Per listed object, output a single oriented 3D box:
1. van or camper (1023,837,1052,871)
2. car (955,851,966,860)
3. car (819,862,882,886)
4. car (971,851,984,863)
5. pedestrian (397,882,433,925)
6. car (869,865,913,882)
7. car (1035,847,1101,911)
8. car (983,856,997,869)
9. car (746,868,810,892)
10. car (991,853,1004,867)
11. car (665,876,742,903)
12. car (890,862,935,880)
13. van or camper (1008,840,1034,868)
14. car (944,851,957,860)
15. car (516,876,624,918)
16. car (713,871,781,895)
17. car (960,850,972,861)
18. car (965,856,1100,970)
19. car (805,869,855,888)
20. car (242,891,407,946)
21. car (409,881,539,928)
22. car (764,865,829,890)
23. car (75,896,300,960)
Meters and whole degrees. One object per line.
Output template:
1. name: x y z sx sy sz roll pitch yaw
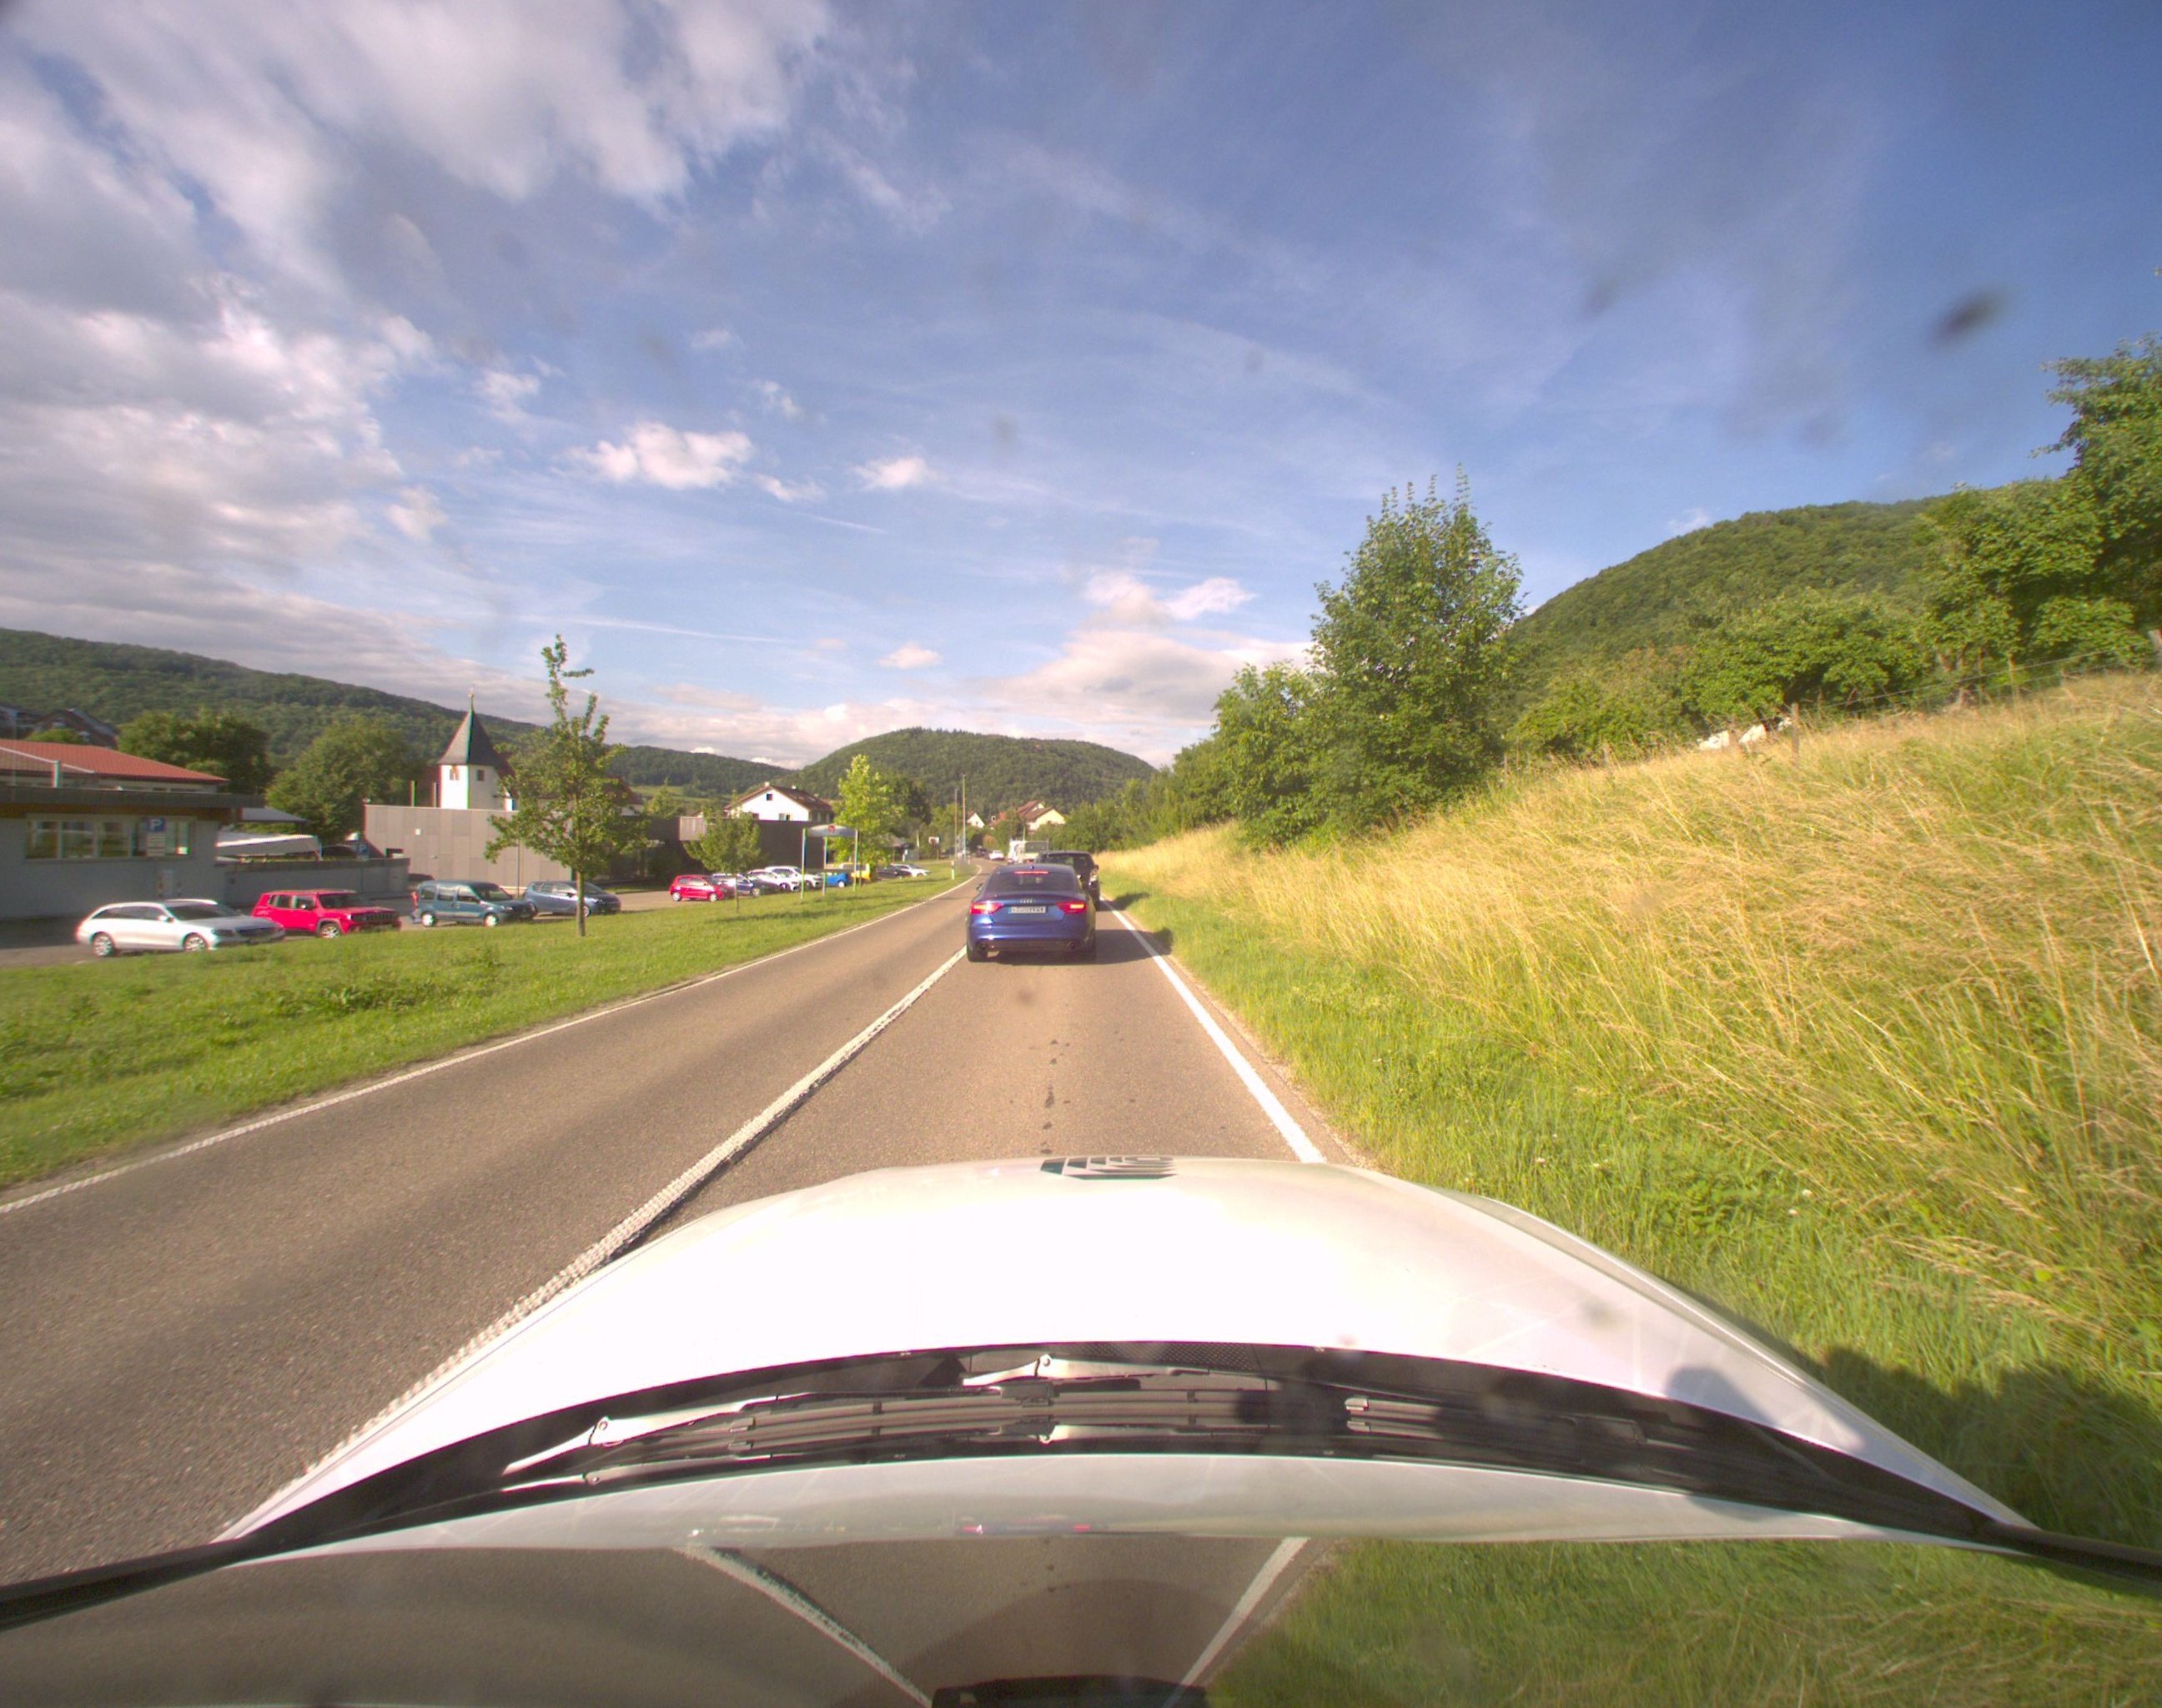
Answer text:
1. van or camper: -3.480 0.025 64.058 2.048 2.505 5.801 -2 0 -5
2. car: -24.999 0.323 168.529 1.680 1.924 3.978 -2 0 -16
3. car: -18.835 1.639 66.515 4.527 1.815 1.845 -1 0 8
4. car: -18.135 0.518 142.980 1.680 1.924 3.979 -2 0 -15
5. pedestrian: -26.496 1.954 32.409 0.791 1.693 0.705 0 -1 0
6. car: -17.743 1.813 76.241 3.691 1.439 1.513 -1 0 8
7. car: -0.418 0.639 22.352 1.642 1.625 3.512 0 0 -4
8. car: -13.832 1.245 123.832 1.661 1.924 3.982 -2 0 -13
9. car: -20.288 1.712 54.552 3.645 1.494 1.600 -1 0 8
10. car: -11.926 0.877 115.954 1.659 1.924 3.988 -2 0 -9
11. car: -21.492 2.014 46.428 3.603 1.444 1.652 -1 0 8
12. car: -16.702 1.685 80.910 4.012 1.660 1.660 -1 0 8
13. van or camper: -6.203 -0.013 83.992 2.279 2.714 5.751 -2 0 -8
14. car: -28.799 0.259 179.473 1.962 1.924 3.972 -2 0 -20
15. car: -22.748 1.893 36.332 3.797 1.722 1.736 -1 0 7
16. car: -21.033 1.799 51.383 3.603 1.405 1.600 -1 0 8
17. car: -22.613 0.320 160.228 1.680 1.924 3.978 -2 0 -16
18. car: -0.656 0.769 12.397 1.737 1.450 3.515 -1 0 -1
19. car: -19.638 1.885 63.921 3.357 1.373 1.660 -1 0 1
20. car: -24.246 2.050 26.183 3.898 1.579 1.759 -1 0 7
21. car: -23.628 1.953 31.760 3.843 1.722 1.758 0 0 5
22. car: -20.188 1.662 57.904 4.053 1.673 1.600 -1 0 8
23. car: -25.470 2.089 23.303 4.615 1.589 2.004 -1 0 7
